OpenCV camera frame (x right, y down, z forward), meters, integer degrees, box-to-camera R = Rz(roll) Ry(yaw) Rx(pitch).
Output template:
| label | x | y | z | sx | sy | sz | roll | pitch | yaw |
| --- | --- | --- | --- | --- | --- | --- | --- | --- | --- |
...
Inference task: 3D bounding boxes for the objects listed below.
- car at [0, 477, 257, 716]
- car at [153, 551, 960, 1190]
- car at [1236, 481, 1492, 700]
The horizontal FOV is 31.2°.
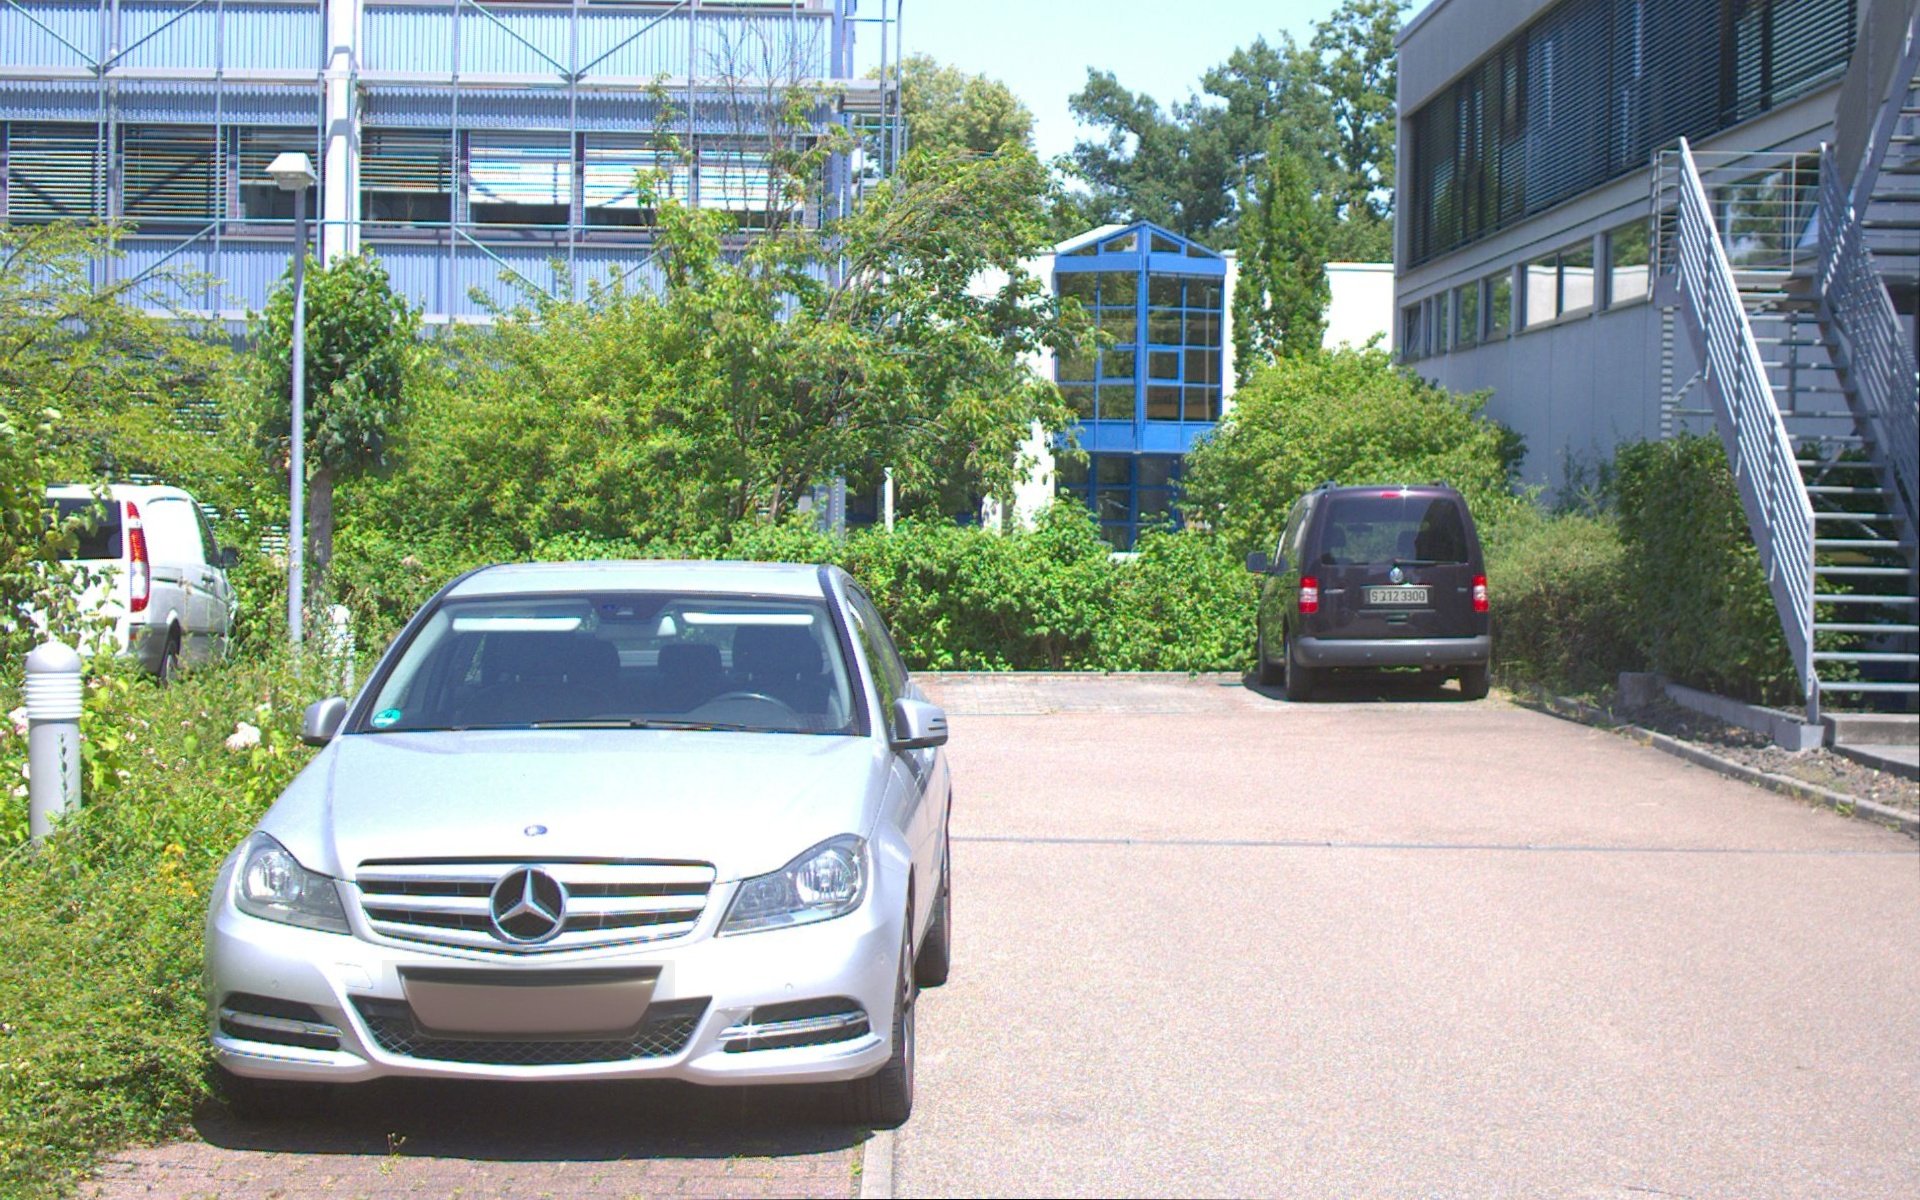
| label | x | y | z | sx | sy | sz | roll | pitch | yaw |
| --- | --- | --- | --- | --- | --- | --- | --- | --- | --- |
| car | -7.499 | -0.108 | 29.987 | 1.913 | 1.898 | 4.809 | 0 | 2 | -2 |
| car | -0.936 | 0.598 | 10.029 | 1.729 | 1.452 | 4.148 | 0 | 1 | 2 |
| car | 3.549 | -0.141 | 30.819 | 1.743 | 1.830 | 4.001 | 0 | 2 | -1 |
